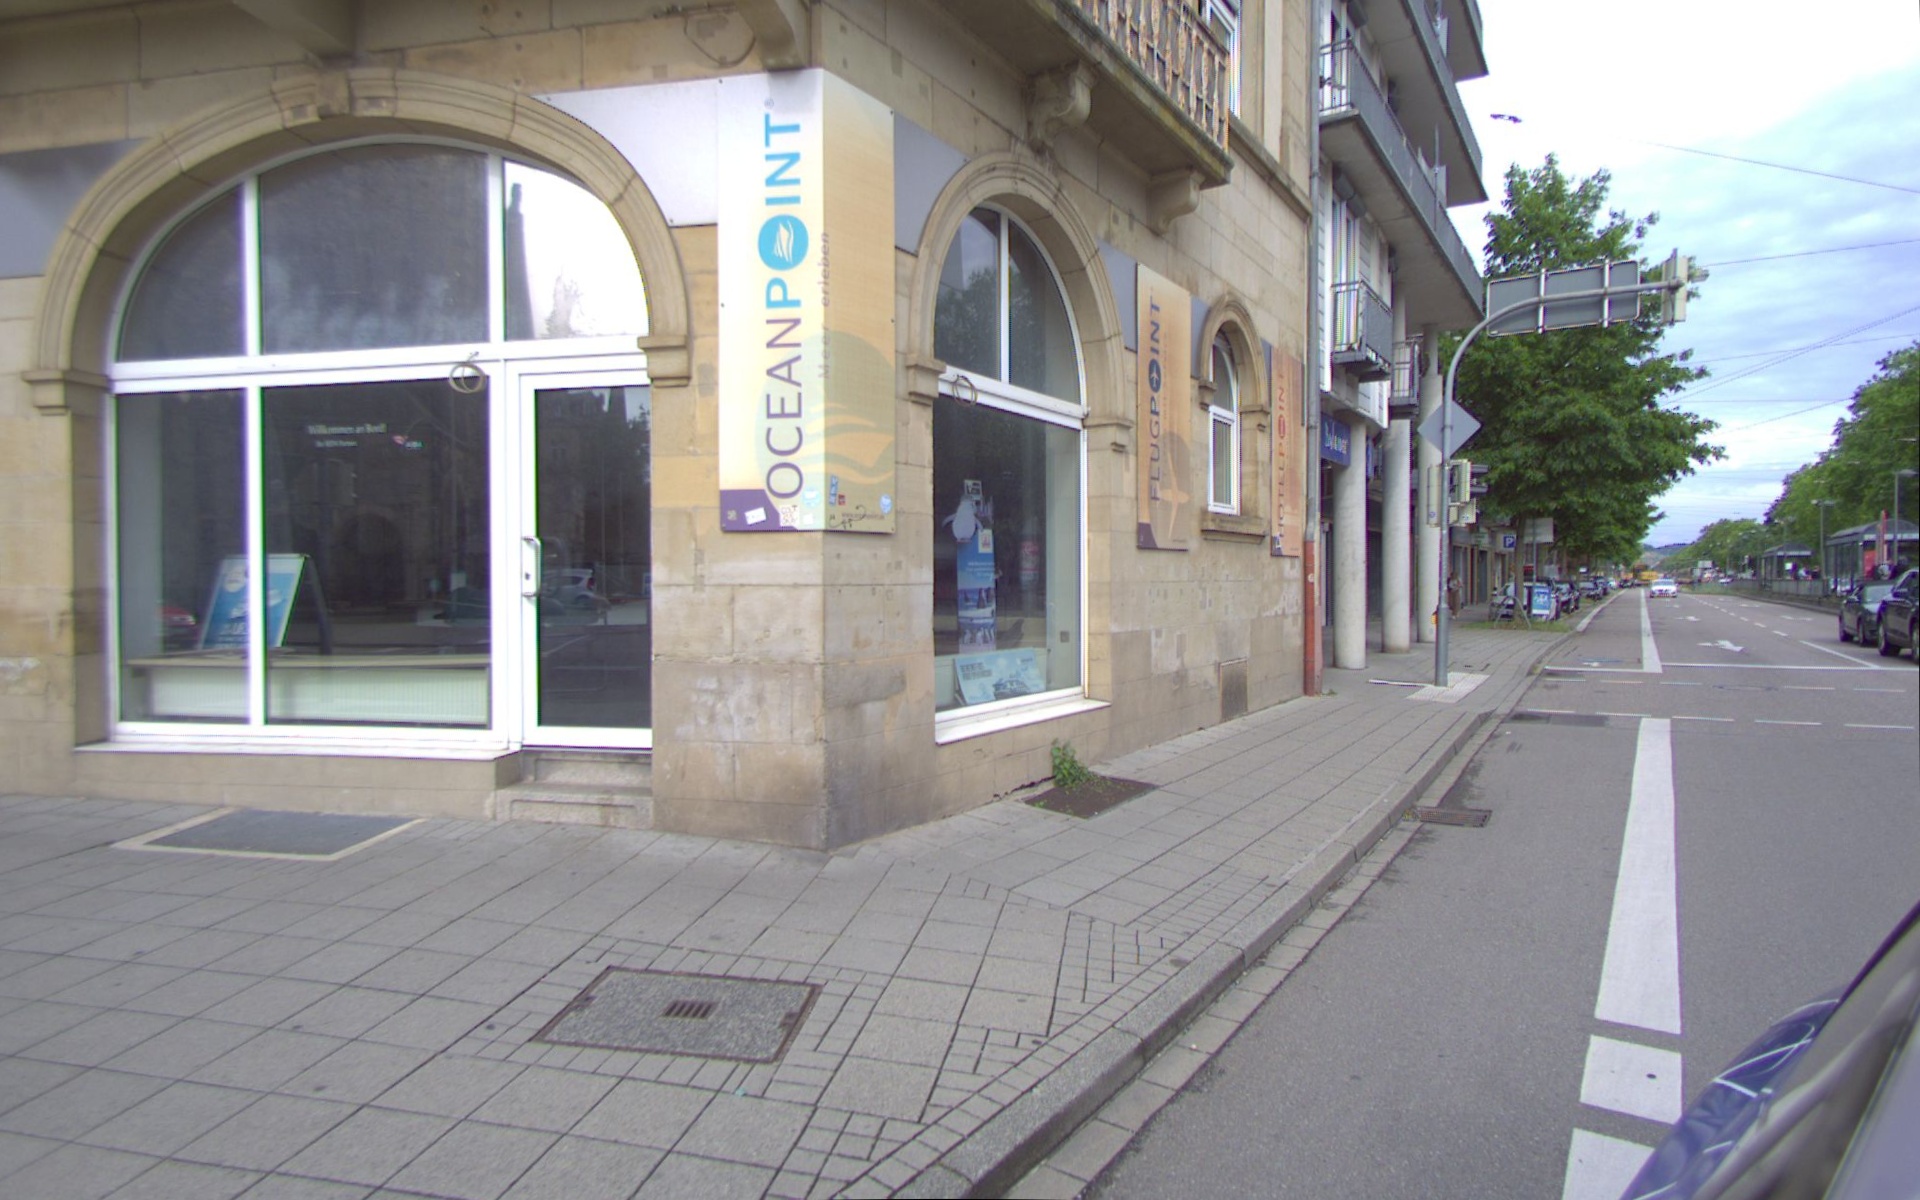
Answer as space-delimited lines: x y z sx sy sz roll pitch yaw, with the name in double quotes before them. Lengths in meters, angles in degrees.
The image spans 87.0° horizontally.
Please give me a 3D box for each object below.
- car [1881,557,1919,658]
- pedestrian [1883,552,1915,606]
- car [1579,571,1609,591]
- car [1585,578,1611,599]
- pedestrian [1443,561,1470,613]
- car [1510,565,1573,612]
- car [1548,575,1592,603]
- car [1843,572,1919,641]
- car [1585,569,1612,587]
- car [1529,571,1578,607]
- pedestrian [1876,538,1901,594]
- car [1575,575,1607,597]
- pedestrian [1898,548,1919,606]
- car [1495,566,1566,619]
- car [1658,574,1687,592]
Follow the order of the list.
"car" 17.252 0.073 17.085 1.905 1.668 4.314 -2 1 35
"pedestrian" 31.819 -0.715 34.313 0.680 1.814 0.810 -2 0 38
"car" 47.286 -1.415 75.470 1.721 1.400 3.769 2 2 35
"car" 55.975 -1.040 88.790 1.721 1.705 3.769 2 2 35
"pedestrian" 17.814 -0.482 36.291 0.740 1.828 0.829 -2 0 34
"car" 22.175 -0.485 38.537 1.721 1.682 3.894 2 2 35
"car" 32.081 -0.617 53.160 1.721 1.400 3.769 2 2 35
"car" 20.885 0.094 22.333 1.627 1.392 3.964 -2 1 35
"car" 53.185 -1.845 84.253 1.721 1.400 3.769 2 2 35
"car" 27.595 -0.530 47.008 1.675 1.564 3.894 2 2 35
"pedestrian" 34.915 -1.285 38.050 0.583 2.076 0.810 -2 0 38
"car" 43.549 -0.984 69.833 1.721 1.400 3.769 2 2 35
"pedestrian" 30.381 -0.723 32.143 0.523 1.814 0.664 -2 0 -15
"car" 19.641 -0.303 34.793 1.721 1.682 4.053 3 3 35
"car" 56.875 -1.374 80.809 1.854 1.363 3.768 2 2 35
